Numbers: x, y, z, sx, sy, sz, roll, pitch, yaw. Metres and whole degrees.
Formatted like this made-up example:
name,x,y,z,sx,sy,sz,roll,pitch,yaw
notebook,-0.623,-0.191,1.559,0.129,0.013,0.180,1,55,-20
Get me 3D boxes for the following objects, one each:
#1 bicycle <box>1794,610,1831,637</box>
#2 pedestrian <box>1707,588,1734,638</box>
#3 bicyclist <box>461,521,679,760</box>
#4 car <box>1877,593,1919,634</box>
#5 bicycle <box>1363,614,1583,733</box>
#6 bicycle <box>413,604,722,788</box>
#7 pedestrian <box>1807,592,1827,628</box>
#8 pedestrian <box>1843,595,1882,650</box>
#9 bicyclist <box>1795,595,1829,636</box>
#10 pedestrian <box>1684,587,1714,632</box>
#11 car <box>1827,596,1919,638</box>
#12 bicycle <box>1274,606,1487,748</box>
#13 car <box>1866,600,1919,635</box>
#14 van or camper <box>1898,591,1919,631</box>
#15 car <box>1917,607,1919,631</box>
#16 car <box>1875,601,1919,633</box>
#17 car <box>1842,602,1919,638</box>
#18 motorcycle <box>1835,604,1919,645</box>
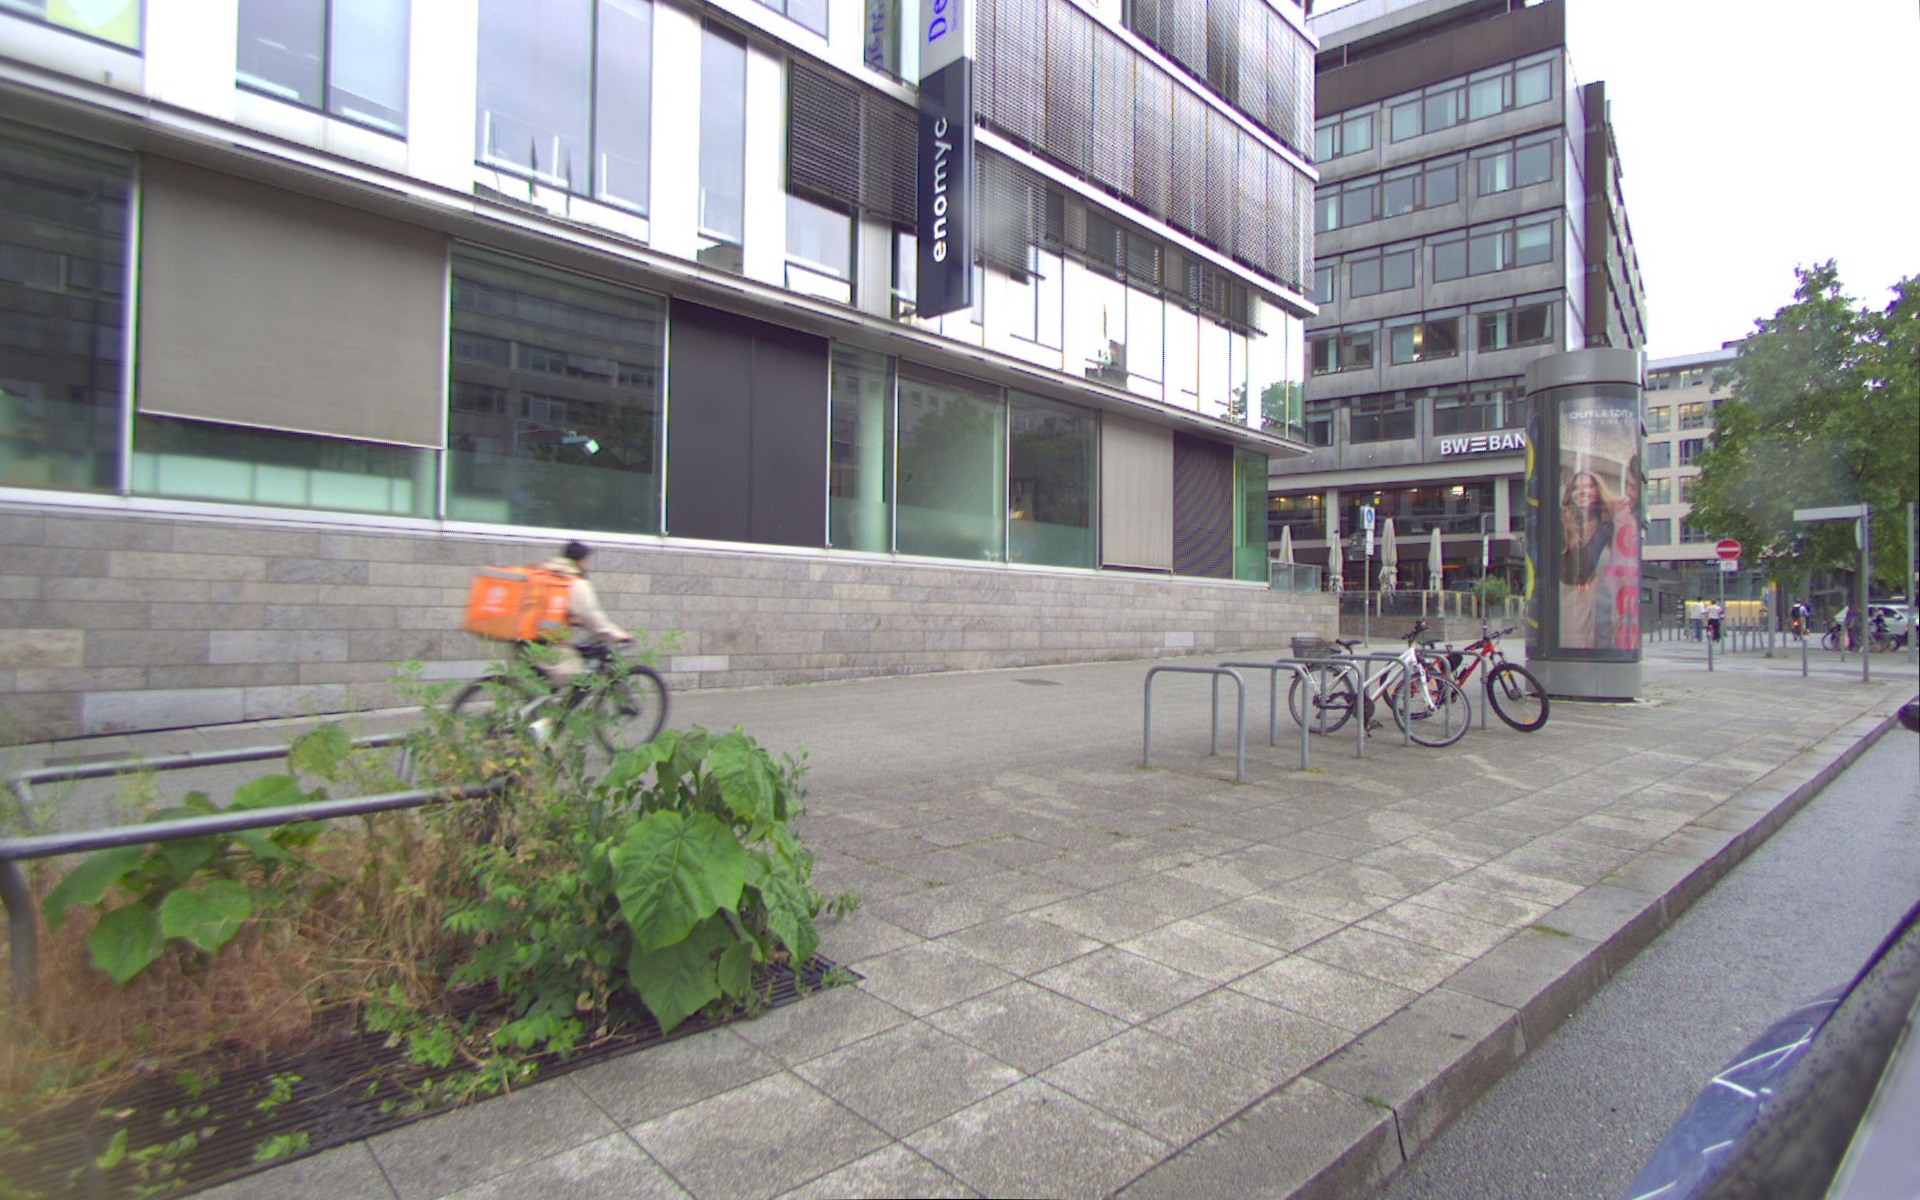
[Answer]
name,x,y,z,sx,sy,sz,roll,pitch,yaw
bicycle,38.230,1.062,45.368,1.941,1.154,0.776,1,-4,-36
pedestrian,31.866,0.564,42.408,0.847,2.065,0.743,-2,-2,37
bicyclist,-2.869,0.299,7.520,1.004,1.603,1.126,-3,-3,24
car,48.796,0.665,50.233,1.882,2.018,4.525,0,-1,-12
bicycle,5.512,0.737,10.987,0.793,1.118,1.989,1,0,-37
bicycle,-2.825,0.616,7.566,1.001,1.128,2.051,-1,0,24
pedestrian,46.414,0.541,54.807,0.719,1.908,0.646,-2,-2,43
pedestrian,28.545,0.704,32.011,0.708,1.707,0.529,0,-2,3
bicyclist,38.194,0.681,45.363,1.059,1.772,0.812,-1,-3,-36
pedestrian,31.304,0.415,42.862,0.883,1.893,0.802,1,-2,-42
car,38.729,0.689,41.373,1.876,1.671,4.812,0,-1,-11
bicycle,4.053,0.688,9.896,0.648,1.212,1.841,1,0,-37
car,44.794,0.802,46.476,1.876,1.557,4.365,0,-1,-14
van or camper,61.343,0.639,61.433,2.267,2.479,6.275,0,-1,-11
car,58.731,1.081,58.933,1.673,1.442,4.068,0,-1,-12
car,46.787,0.811,48.223,1.876,1.557,4.399,0,-1,-14
car,41.087,0.861,43.400,1.877,1.493,4.729,0,-1,-9
motorcycle,31.771,0.835,35.070,0.664,1.375,2.090,1,-2,-34
